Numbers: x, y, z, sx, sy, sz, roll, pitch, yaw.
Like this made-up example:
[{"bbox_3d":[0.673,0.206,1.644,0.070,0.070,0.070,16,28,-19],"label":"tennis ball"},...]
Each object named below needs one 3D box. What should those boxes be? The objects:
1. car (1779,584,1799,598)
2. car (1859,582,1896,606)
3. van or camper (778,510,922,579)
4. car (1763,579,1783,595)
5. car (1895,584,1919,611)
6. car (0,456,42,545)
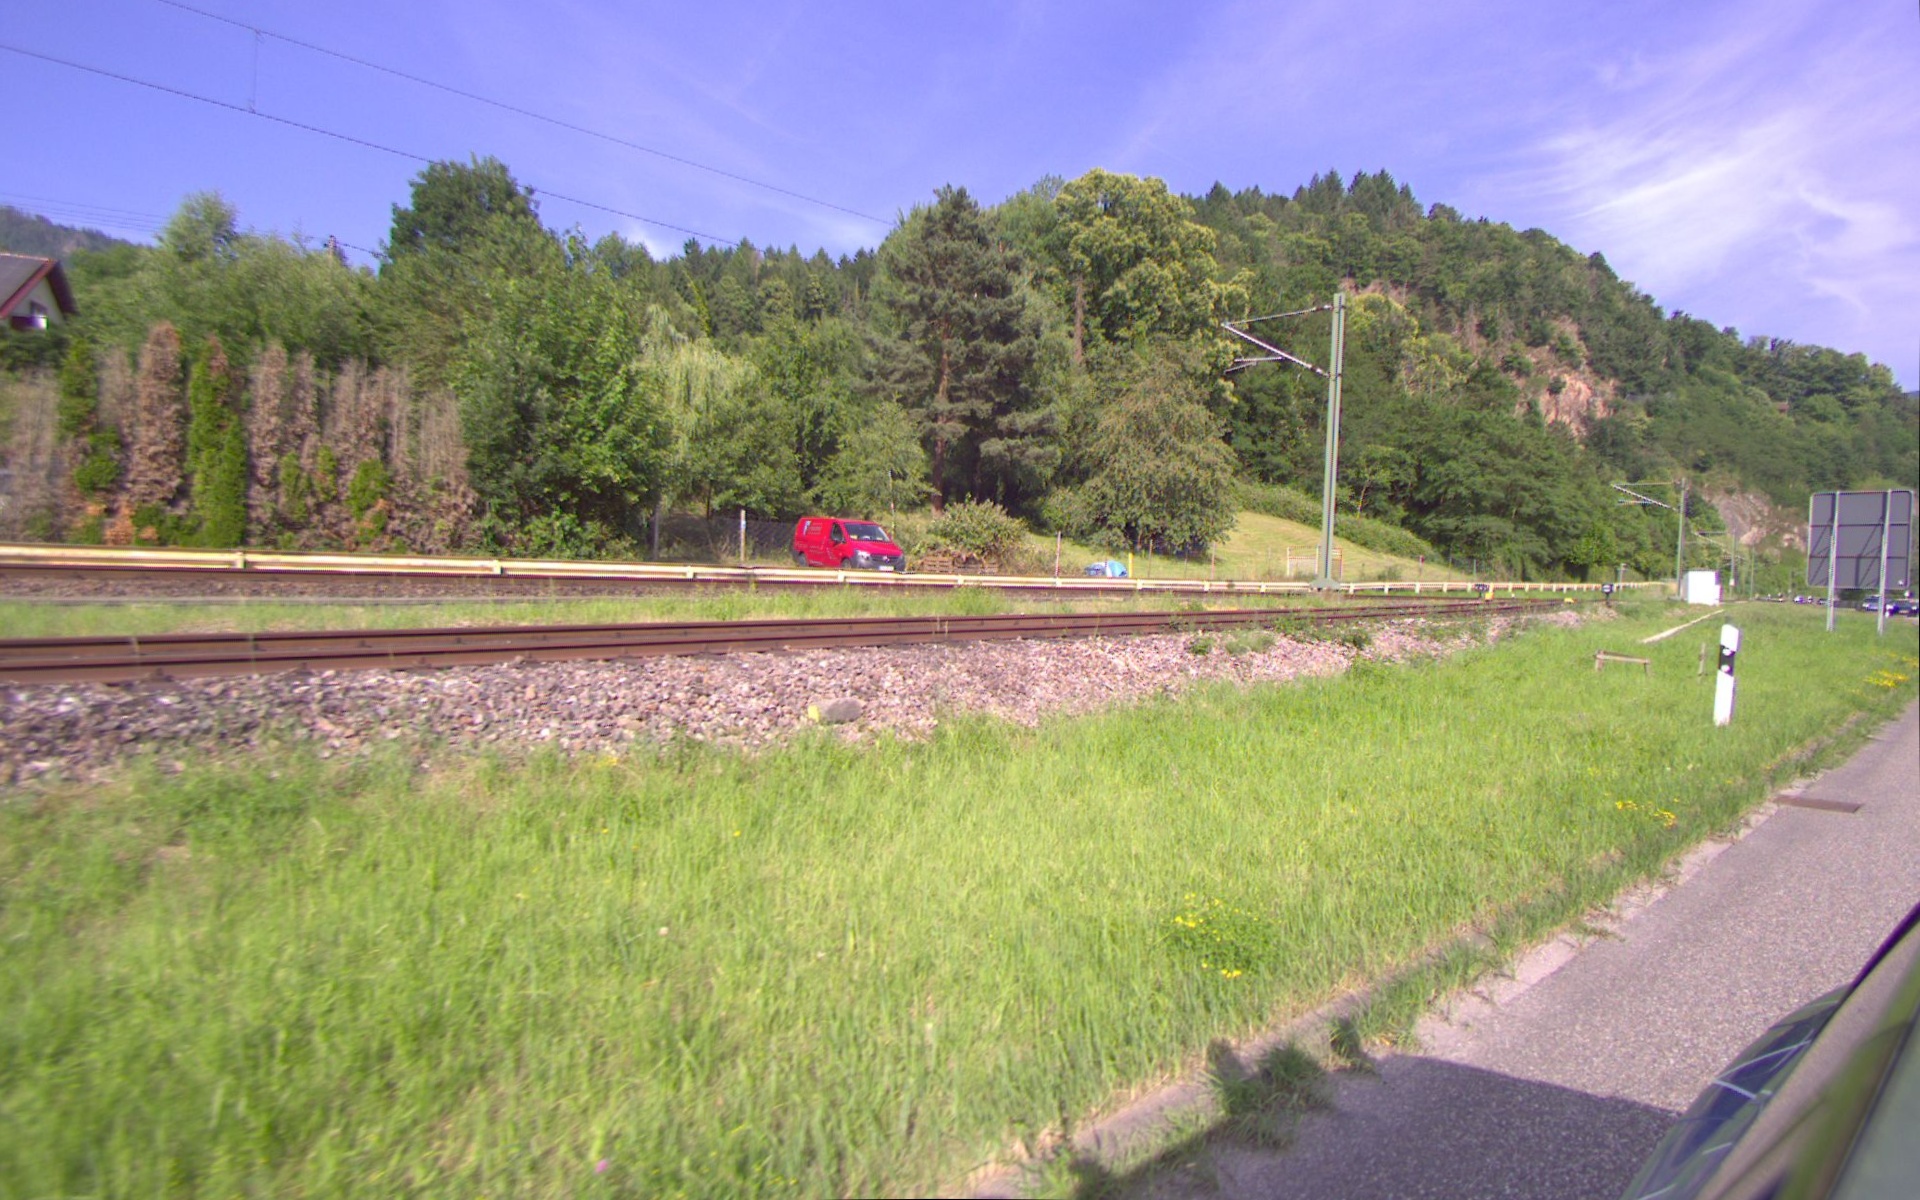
[{"bbox_3d":[124.145,-1.325,151.540,1.995,2.038,3.937,6,4,43],"label":"car"},{"bbox_3d":[85.473,-0.610,94.302,1.989,2.038,3.948,5,3,36],"label":"car"},{"bbox_3d":[-3.653,-1.836,32.553,2.081,1.952,5.436,1,4,-37],"label":"van or camper"},{"bbox_3d":[110.492,-1.772,137.558,1.992,2.038,3.943,5,4,39],"label":"car"},{"bbox_3d":[75.125,-0.188,79.660,1.996,2.038,3.935,6,4,45],"label":"car"},{"bbox_3d":[-18.780,-1.936,19.198,1.966,1.548,3.994,2,3,-42],"label":"car"}]
